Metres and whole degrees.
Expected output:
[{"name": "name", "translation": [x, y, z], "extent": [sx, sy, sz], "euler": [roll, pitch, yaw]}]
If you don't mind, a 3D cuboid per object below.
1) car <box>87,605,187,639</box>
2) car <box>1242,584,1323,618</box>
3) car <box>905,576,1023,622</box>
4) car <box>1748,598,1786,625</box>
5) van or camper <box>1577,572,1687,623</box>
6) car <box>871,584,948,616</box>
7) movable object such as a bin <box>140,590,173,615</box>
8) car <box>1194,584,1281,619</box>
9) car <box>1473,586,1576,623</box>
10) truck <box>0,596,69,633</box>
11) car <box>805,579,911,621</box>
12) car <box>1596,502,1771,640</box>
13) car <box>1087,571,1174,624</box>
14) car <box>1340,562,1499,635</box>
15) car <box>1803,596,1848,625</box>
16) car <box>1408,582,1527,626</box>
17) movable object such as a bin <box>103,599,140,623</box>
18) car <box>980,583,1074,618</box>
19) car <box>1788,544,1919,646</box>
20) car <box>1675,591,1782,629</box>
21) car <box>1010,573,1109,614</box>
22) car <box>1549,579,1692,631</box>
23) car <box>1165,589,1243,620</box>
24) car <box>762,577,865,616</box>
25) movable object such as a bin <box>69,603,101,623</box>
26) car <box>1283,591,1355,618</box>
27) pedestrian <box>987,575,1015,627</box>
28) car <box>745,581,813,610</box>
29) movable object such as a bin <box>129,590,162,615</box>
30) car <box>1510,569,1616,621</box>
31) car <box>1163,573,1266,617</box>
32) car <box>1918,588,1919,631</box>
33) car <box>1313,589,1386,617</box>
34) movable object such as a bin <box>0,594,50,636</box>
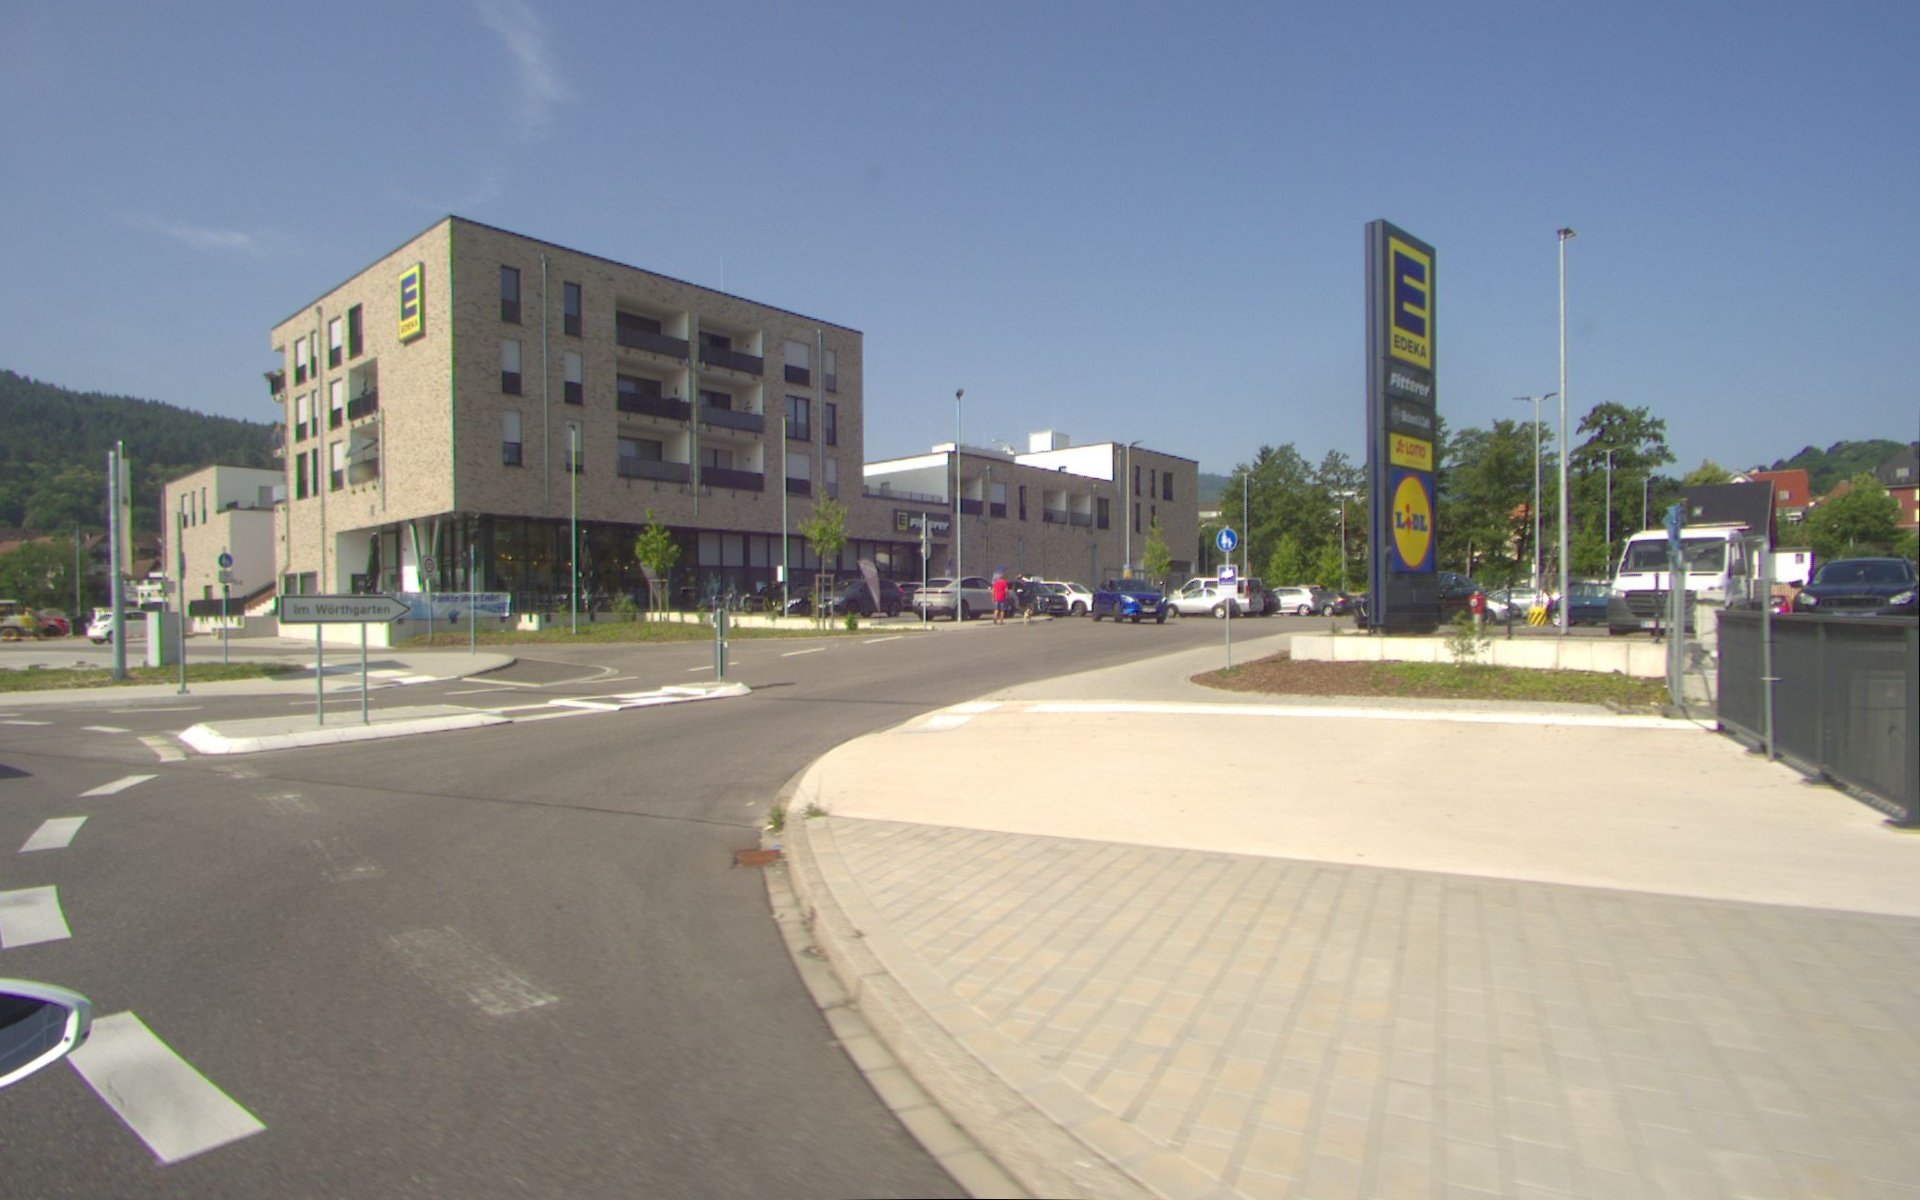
[{"name": "car", "translation": [-40.310, 1.066, 49.099], "extent": [1.569, 1.514, 3.403], "euler": [-2, 0, 26]}, {"name": "car", "translation": [18.009, 0.074, 55.953], "extent": [3.943, 1.763, 1.925], "euler": [0, -2, 33]}, {"name": "car", "translation": [0.224, -0.089, 38.340], "extent": [1.836, 1.577, 4.779], "euler": [3, 4, 42]}, {"name": "car", "translation": [51.832, 0.747, 64.330], "extent": [1.690, 1.594, 3.765], "euler": [0, -3, 36]}, {"name": "van or camper", "translation": [40.568, -0.109, 60.542], "extent": [5.228, 2.883, 2.276], "euler": [0, -2, 43]}, {"name": "car", "translation": [-2.814, -0.027, 56.583], "extent": [1.835, 1.577, 4.424], "euler": [3, 4, 39]}, {"name": "movable object such as a bin", "translation": [-50.061, 0.179, 62.399], "extent": [1.303, 1.482, 1.295], "euler": [0, -2, 37]}, {"name": "car", "translation": [14.261, 0.069, 51.438], "extent": [3.943, 1.660, 1.864], "euler": [0, -2, 33]}, {"name": "car", "translation": [24.231, 0.222, 43.023], "extent": [3.594, 1.463, 1.512], "euler": [0, -3, 45]}, {"name": "truck", "translation": [-62.462, 0.980, 66.060], "extent": [5.267, 2.296, 2.202], "euler": [-2, 1, -38]}, {"name": "car", "translation": [-4.221, -0.057, 41.891], "extent": [1.835, 1.577, 4.424], "euler": [3, 4, 39]}, {"name": "car", "translation": [15.498, -0.446, 21.274], "extent": [6.037, 2.413, 2.040], "euler": [4, -3, -45]}, {"name": "car", "translation": [6.107, -0.139, 36.363], "extent": [1.851, 1.686, 4.348], "euler": [-3, 2, -7]}, {"name": "car", "translation": [11.614, 0.038, 25.143], "extent": [4.813, 1.549, 1.905], "euler": [4, -3, -42]}, {"name": "car", "translation": [53.028, 0.663, 61.394], "extent": [1.740, 1.594, 3.765], "euler": [0, -3, 36]}, {"name": "car", "translation": [18.574, 0.164, 36.726], "extent": [3.594, 1.463, 1.512], "euler": [0, -3, 45]}, {"name": "movable object such as a bin", "translation": [-54.650, 0.721, 65.283], "extent": [1.303, 1.482, 1.575], "euler": [0, -2, 37]}, {"name": "car", "translation": [2.907, 0.024, 44.025], "extent": [1.626, 1.411, 4.191], "euler": [-3, 2, -42]}, {"name": "car", "translation": [17.082, -0.006, 18.882], "extent": [4.436, 1.622, 1.815], "euler": [4, -3, -44]}, {"name": "car", "translation": [35.404, 0.474, 46.169], "extent": [3.746, 1.594, 1.749], "euler": [0, -3, 43]}, {"name": "car", "translation": [4.862, -0.276, 49.316], "extent": [4.526, 1.905, 1.984], "euler": [0, -1, 42]}, {"name": "car", "translation": [21.999, 0.192, 33.416], "extent": [3.746, 1.594, 1.749], "euler": [0, -3, 43]}, {"name": "car", "translation": [11.553, 0.236, 47.446], "extent": [3.287, 1.368, 1.619], "euler": [-1, -3, 35]}, {"name": "car", "translation": [-6.391, -0.201, 44.118], "extent": [1.835, 1.577, 4.424], "euler": [3, 4, 39]}, {"name": "movable object such as a bin", "translation": [-57.638, 0.858, 65.955], "extent": [1.303, 1.284, 1.292], "euler": [0, -2, 37]}, {"name": "car", "translation": [21.427, 0.290, 59.777], "extent": [3.758, 1.490, 1.764], "euler": [0, -2, 33]}, {"name": "pedestrian", "translation": [1.422, 0.046, 34.656], "extent": [0.863, 1.763, 0.758], "euler": [2, -1, -3]}, {"name": "car", "translation": [-9.025, -0.216, 49.875], "extent": [3.288, 1.368, 1.482], "euler": [0, -2, 36]}, {"name": "movable object such as a bin", "translation": [-51.598, 0.177, 63.442], "extent": [1.303, 1.482, 1.295], "euler": [0, -2, 37]}, {"name": "car", "translation": [32.619, -0.225, 54.254], "extent": [4.596, 2.650, 1.984], "euler": [0, -2, 43]}, {"name": "car", "translation": [12.630, -0.213, 49.775], "extent": [4.580, 2.039, 1.991], "euler": [0, -2, 33]}, {"name": "car", "translation": [38.659, 0.373, 37.666], "extent": [3.746, 1.594, 1.749], "euler": [0, -3, 43]}, {"name": "car", "translation": [24.864, 0.204, 64.000], "extent": [3.950, 1.695, 1.987], "euler": [0, -2, 38]}, {"name": "movable object such as a bin", "translation": [-60.510, 0.987, 63.039], "extent": [4.571, 2.604, 1.910], "euler": [-2, 1, -38]}]
